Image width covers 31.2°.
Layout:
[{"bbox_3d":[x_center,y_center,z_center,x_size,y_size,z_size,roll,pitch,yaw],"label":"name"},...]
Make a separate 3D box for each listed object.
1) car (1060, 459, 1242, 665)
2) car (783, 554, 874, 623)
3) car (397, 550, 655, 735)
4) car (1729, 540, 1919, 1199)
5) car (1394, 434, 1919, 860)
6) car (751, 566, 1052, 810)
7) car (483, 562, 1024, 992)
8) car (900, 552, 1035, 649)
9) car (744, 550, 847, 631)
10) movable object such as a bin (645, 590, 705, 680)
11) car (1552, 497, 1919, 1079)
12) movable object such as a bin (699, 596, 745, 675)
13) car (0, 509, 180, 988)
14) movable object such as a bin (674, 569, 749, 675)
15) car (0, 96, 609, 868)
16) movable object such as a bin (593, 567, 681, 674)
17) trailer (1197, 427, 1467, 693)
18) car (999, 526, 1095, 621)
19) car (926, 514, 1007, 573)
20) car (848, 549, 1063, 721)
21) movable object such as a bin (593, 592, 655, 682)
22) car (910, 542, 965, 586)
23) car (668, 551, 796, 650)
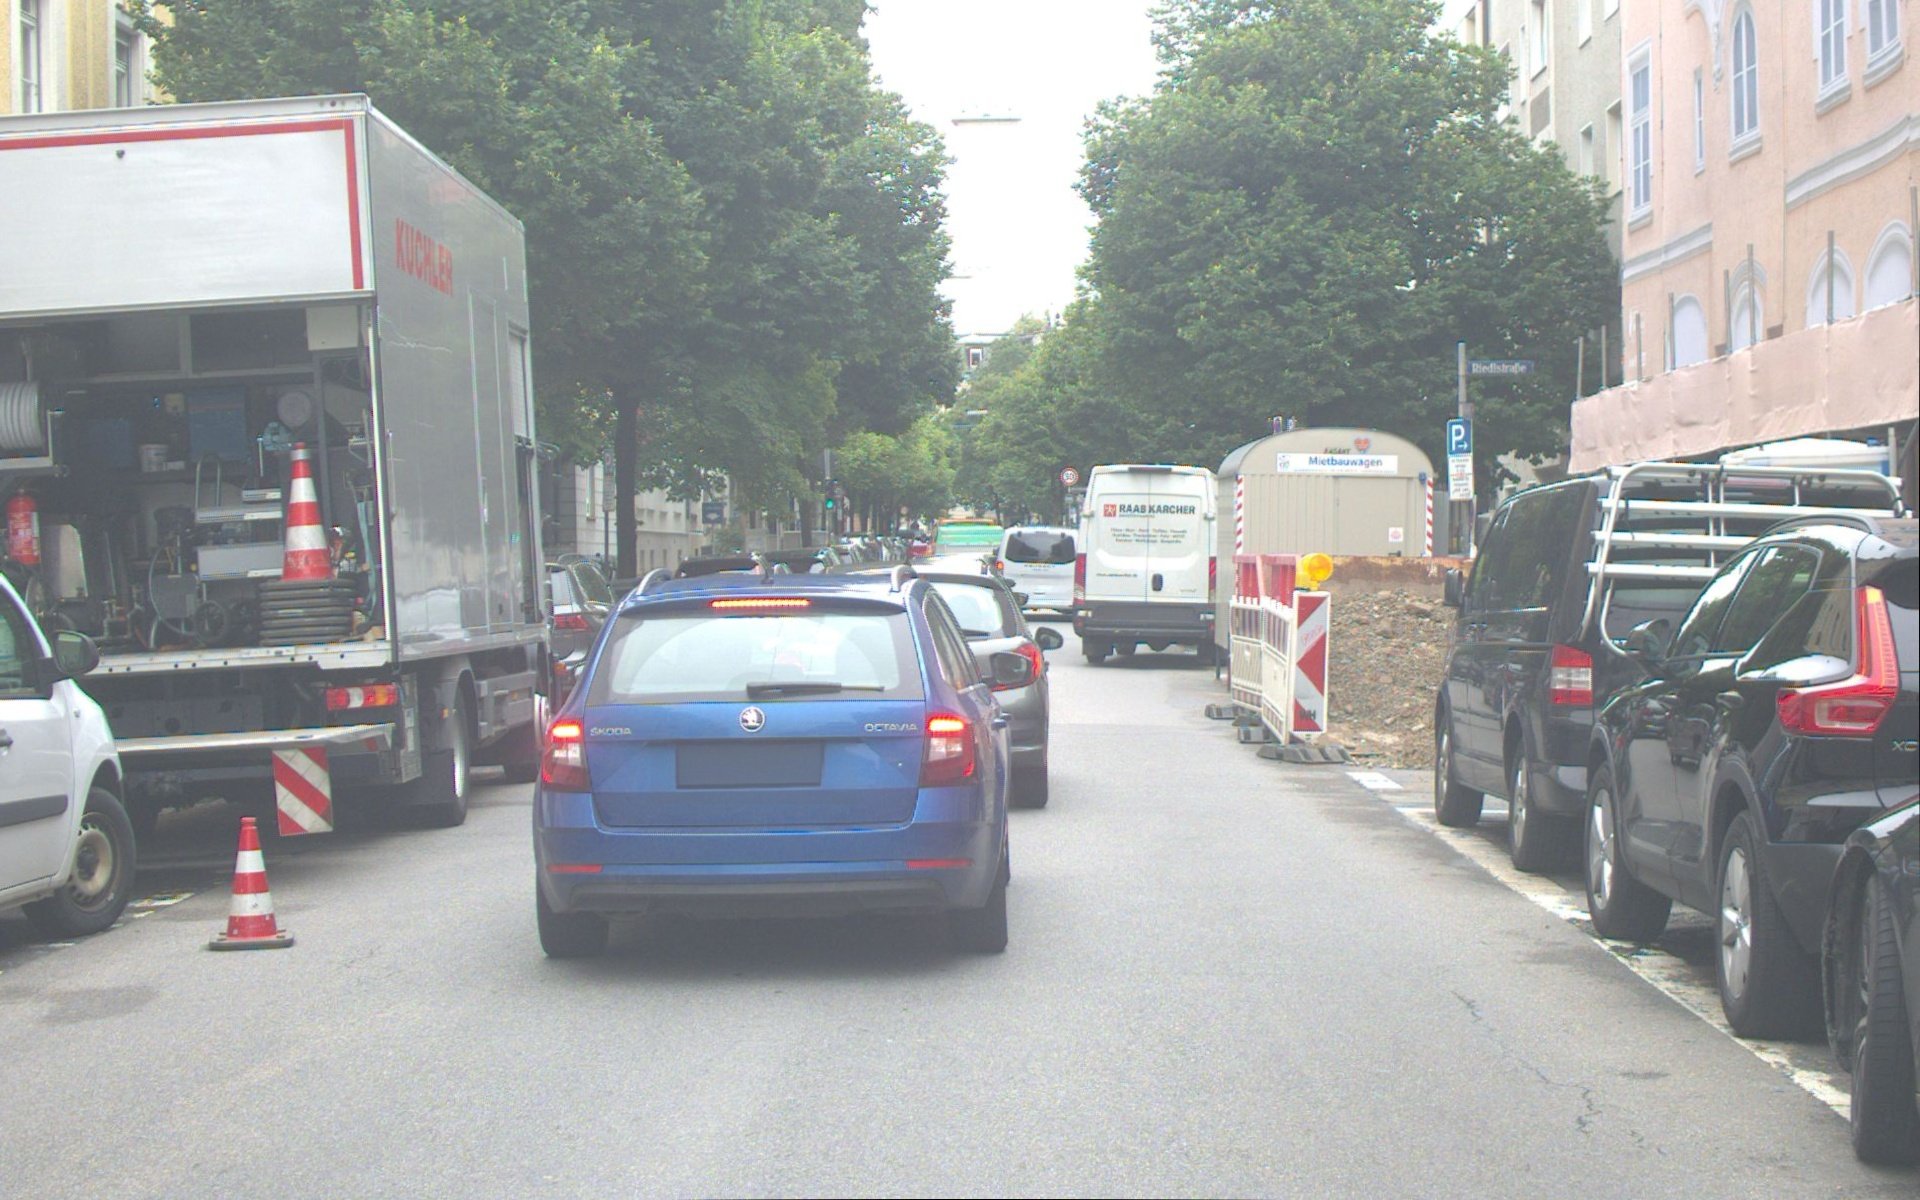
[{"bbox_3d":[2.703,-0.509,47.480,2.113,2.654,5.498,1,0,7],"label":"car"},{"bbox_3d":[-2.913,-0.277,77.004,1.812,1.473,4.000,0,1,1],"label":"car"},{"bbox_3d":[-4.104,0.353,33.117,1.785,1.623,4.185,-1,1,2],"label":"car"},{"bbox_3d":[3.116,0.655,6.804,1.931,1.548,5.637,0,1,0],"label":"car"},{"bbox_3d":[3.587,0.285,18.198,2.082,1.914,5.140,1,-2,2],"label":"car"},{"bbox_3d":[-0.296,0.494,21.776,1.741,1.417,3.664,0,1,1],"label":"car"},{"bbox_3d":[-0.672,0.586,13.974,1.789,1.455,4.314,-1,1,2],"label":"car"},{"bbox_3d":[0.153,-0.026,51.529,1.867,1.343,4.347,1,1,2],"label":"car"},{"bbox_3d":[-3.075,-0.203,64.963,1.812,1.473,4.000,0,1,-1],"label":"car"},{"bbox_3d":[-3.774,0.453,45.512,0.711,1.144,0.636,-3,1,-2],"label":"movable object such as a bin"},{"bbox_3d":[3.281,0.559,12.158,1.694,1.671,4.407,2,0,2],"label":"car"},{"bbox_3d":[-3.154,0.467,45.561,0.546,1.017,0.636,-2,1,-2],"label":"movable object such as a bin"},{"bbox_3d":[-4.451,0.579,13.106,1.763,1.773,4.326,-2,1,2],"label":"car"},{"bbox_3d":[-3.349,0.288,46.417,0.918,1.372,1.080,-3,1,-3],"label":"movable object such as a bin"},{"bbox_3d":[-4.121,-0.622,21.435,2.812,3.804,8.723,-1,1,1],"label":"car"},{"bbox_3d":[-4.347,0.265,46.353,1.081,1.372,1.084,-3,1,-3],"label":"movable object such as a bin"},{"bbox_3d":[4.225,-0.451,40.351,2.502,2.830,6.901,1,0,1],"label":"trailer"},{"bbox_3d":[1.759,-0.568,70.532,1.867,1.863,4.347,1,1,1],"label":"car"},{"bbox_3d":[0.171,-1.641,99.212,2.007,1.647,4.348,1,1,-4],"label":"car"},{"bbox_3d":[-0.038,0.271,32.251,1.867,1.449,4.347,1,1,0],"label":"car"},{"bbox_3d":[-4.441,0.483,45.470,0.721,1.134,0.658,-3,1,-2],"label":"movable object such as a bin"},{"bbox_3d":[-0.881,-1.443,136.506,2.008,1.647,4.347,1,1,1],"label":"car"},{"bbox_3d":[-3.564,-0.019,54.240,1.812,1.473,4.000,0,1,-1],"label":"car"}]
